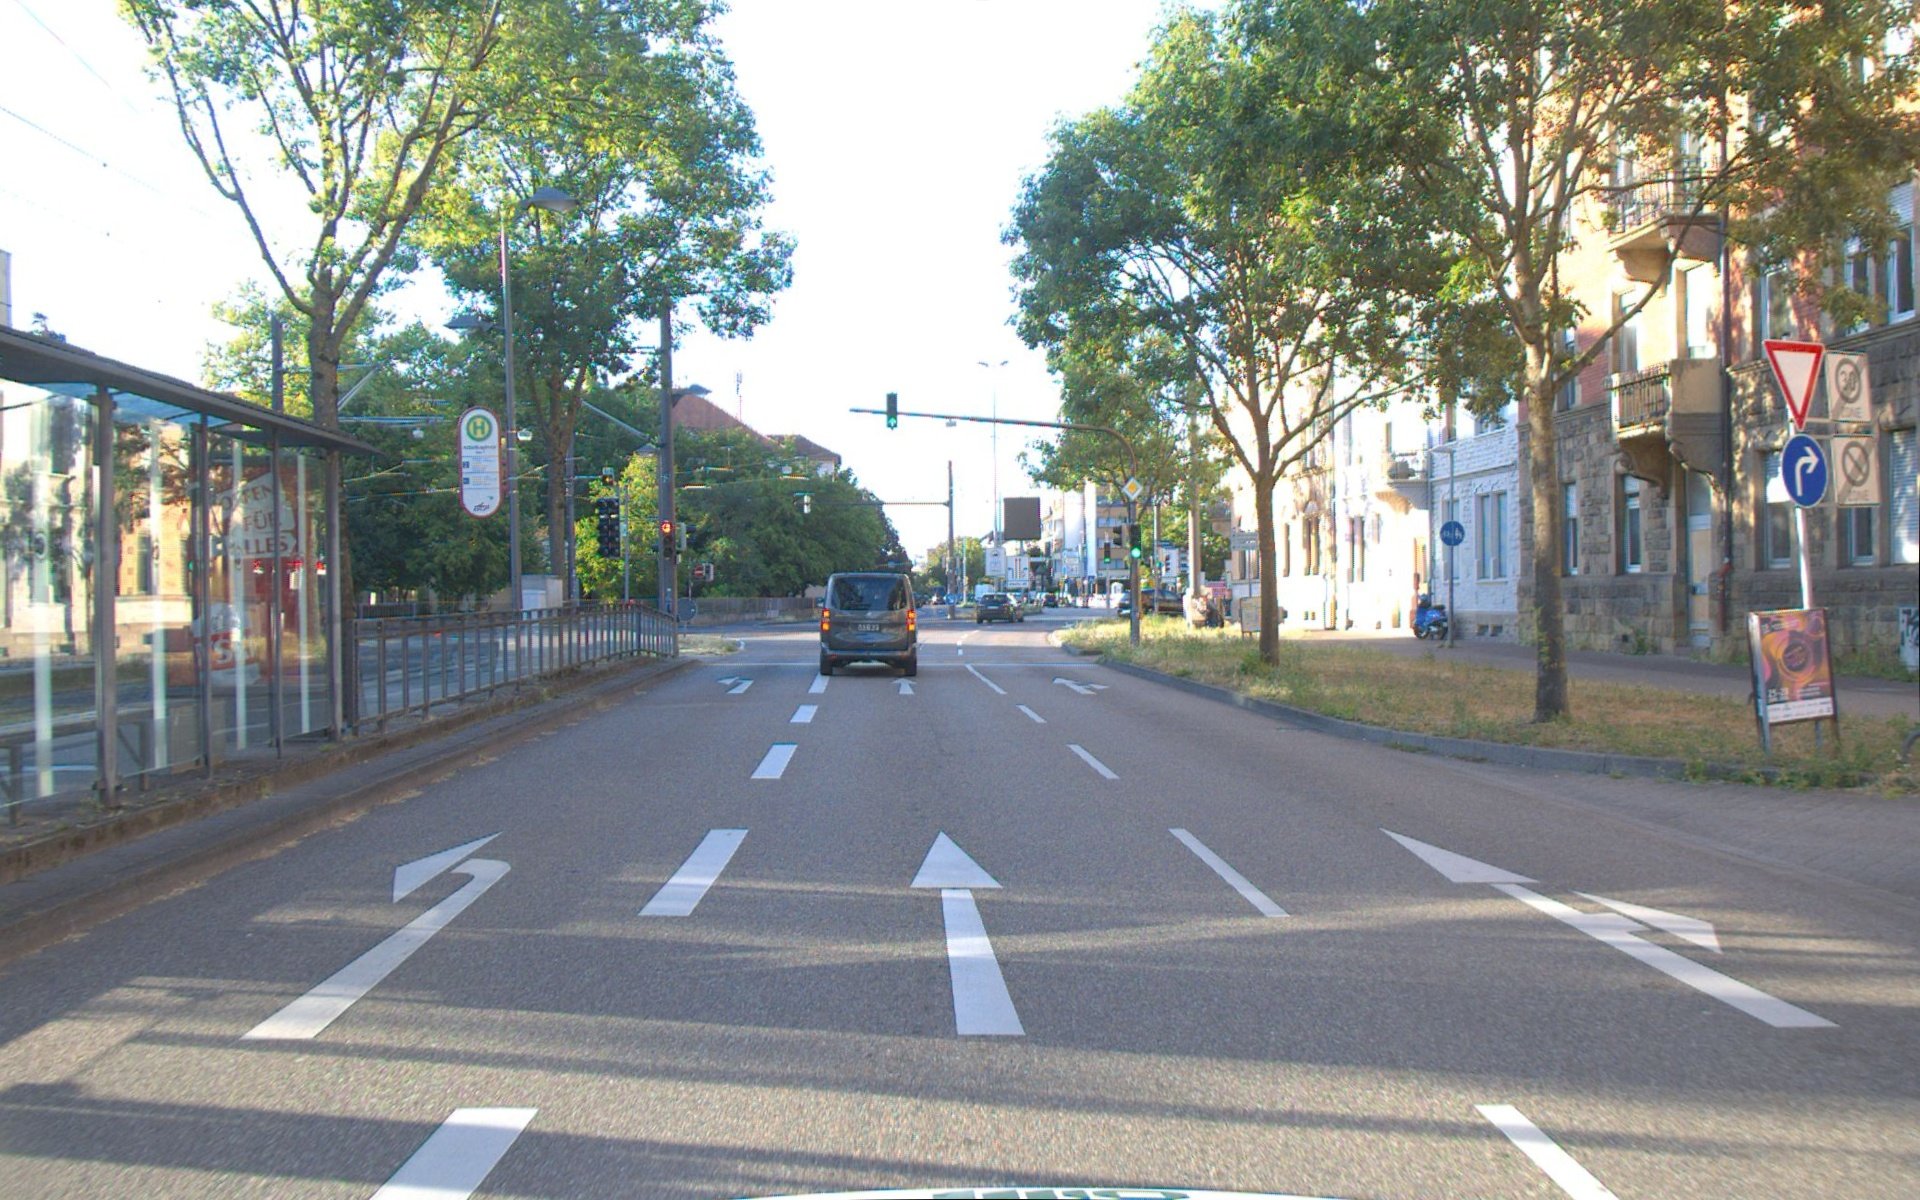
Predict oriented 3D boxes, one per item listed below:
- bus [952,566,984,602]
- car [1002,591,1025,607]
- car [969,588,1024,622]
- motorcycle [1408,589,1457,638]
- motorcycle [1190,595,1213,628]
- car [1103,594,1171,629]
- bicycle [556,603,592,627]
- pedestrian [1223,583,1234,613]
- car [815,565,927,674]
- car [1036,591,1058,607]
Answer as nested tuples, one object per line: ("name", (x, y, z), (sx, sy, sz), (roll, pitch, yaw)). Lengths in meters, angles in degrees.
("bus", (1.025, -2.039, 219.016), (3.226, 4.698, 9.987), (1, 0, -6))
("car", (5.883, -0.105, 181.031), (1.955, 1.685, 4.294), (-1, 0, -5))
("car", (1.745, 0.228, 77.803), (1.806, 1.571, 3.634), (-1, 0, 13))
("motorcycle", (12.250, 0.340, 42.922), (0.543, 1.235, 2.071), (1, 0, -4))
("motorcycle", (7.938, 0.381, 54.433), (0.591, 1.062, 1.745), (-1, 0, 4))
("car", (8.121, 0.518, 75.489), (1.954, 1.537, 3.998), (1, 0, 24))
("bicycle", (-19.147, 0.743, 82.120), (0.550, 1.162, 1.710), (-1, 0, 45))
("pedestrian", (15.186, -0.105, 93.620), (0.540, 1.657, 0.700), (-1, 0, 6))
("car", (-1.802, 0.352, 32.161), (1.955, 1.934, 4.294), (1, 0, -6))
("car", (9.244, -0.139, 175.966), (1.953, 1.685, 4.298), (-1, 0, -2))
